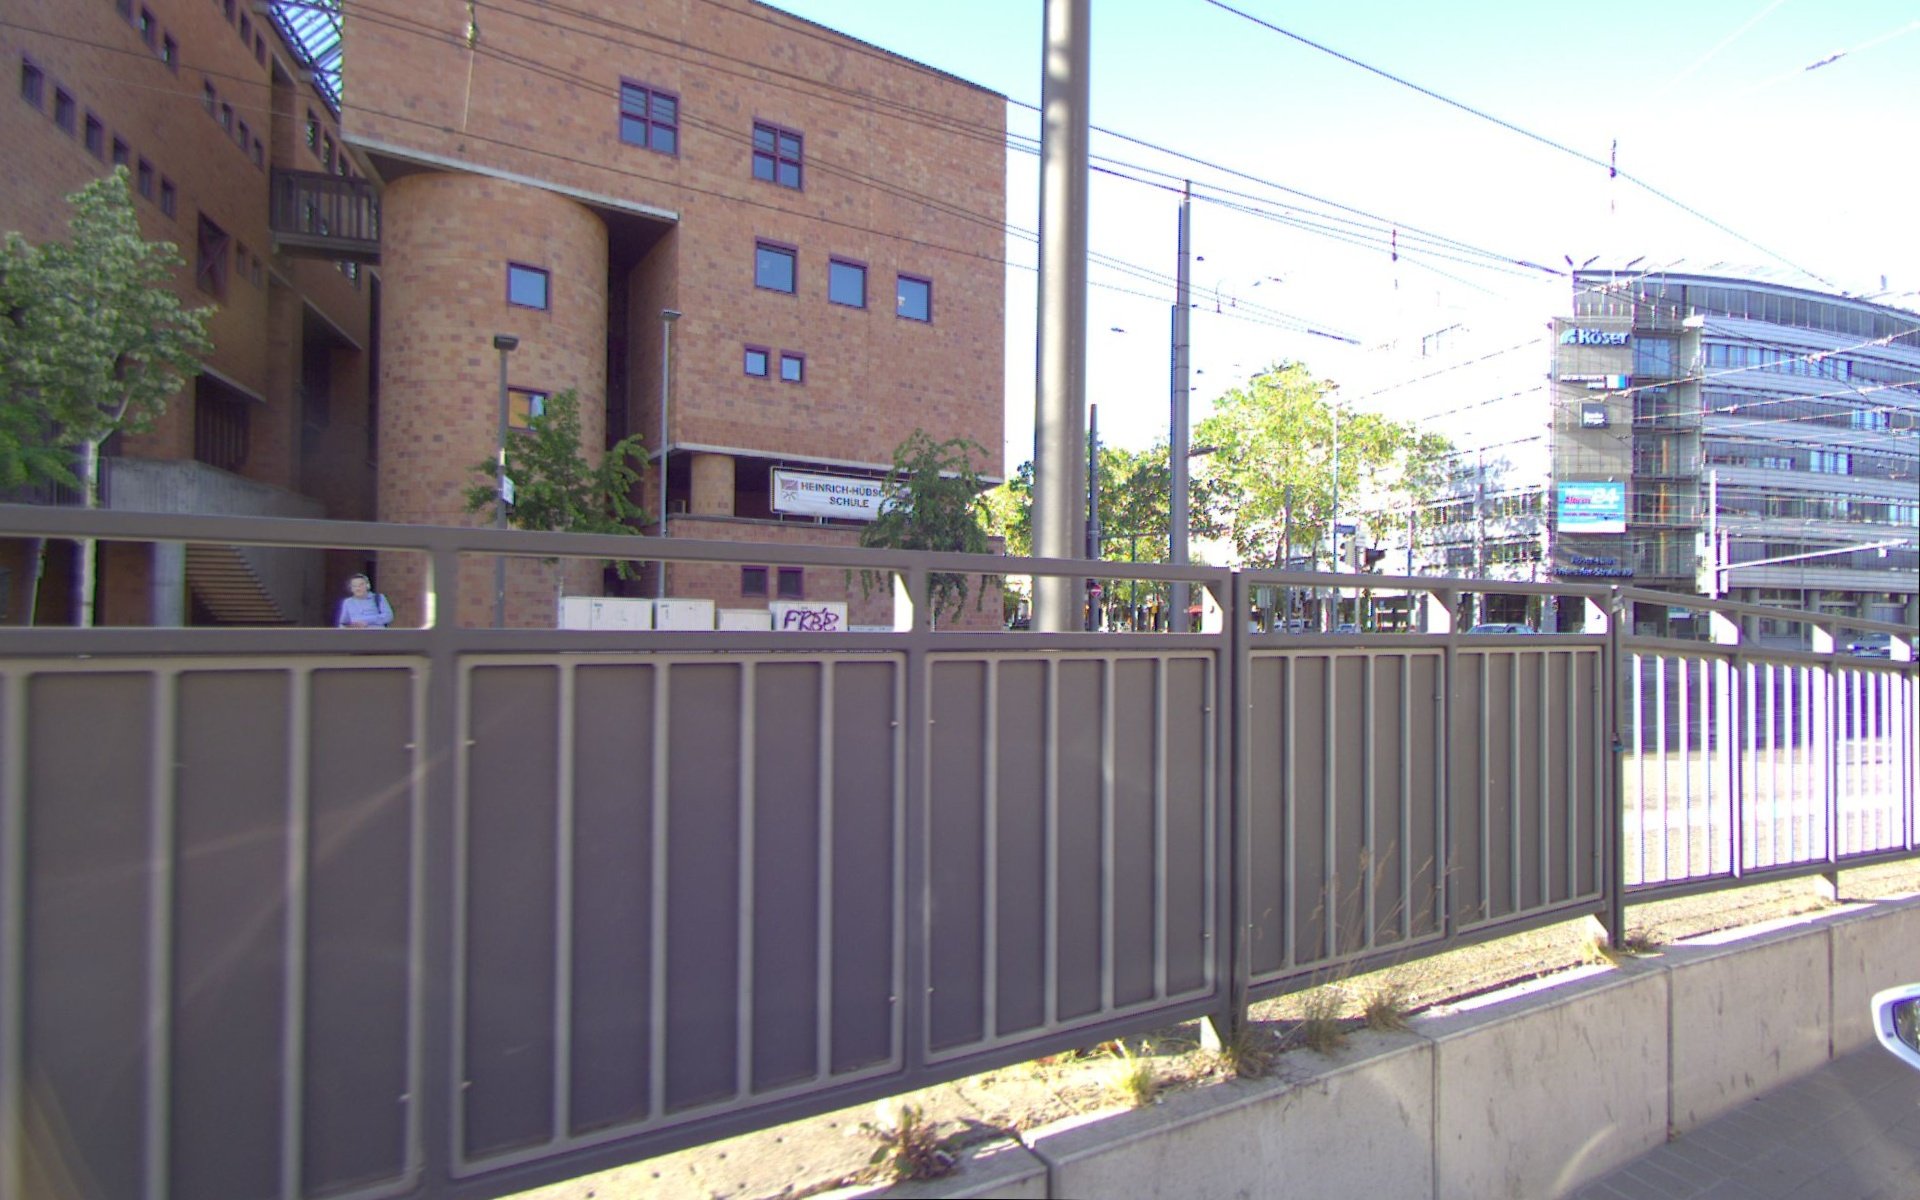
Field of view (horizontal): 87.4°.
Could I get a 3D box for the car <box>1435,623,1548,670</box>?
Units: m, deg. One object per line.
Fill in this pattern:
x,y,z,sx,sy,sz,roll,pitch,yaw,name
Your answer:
18.908,1.656,35.694,4.198,1.589,1.814,2,-2,-34,car

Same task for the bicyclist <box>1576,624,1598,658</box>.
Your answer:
29.205,1.900,46.798,0.642,1.554,0.584,2,0,-30,bicyclist

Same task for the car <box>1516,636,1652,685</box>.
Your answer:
16.136,1.524,26.041,2.841,1.077,1.237,1,0,40,car

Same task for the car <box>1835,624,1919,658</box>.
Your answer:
44.980,1.996,48.734,4.623,1.589,1.823,1,-2,-20,car

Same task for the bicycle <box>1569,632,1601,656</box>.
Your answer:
29.110,2.056,46.769,1.793,1.104,0.458,2,-3,-30,bicycle

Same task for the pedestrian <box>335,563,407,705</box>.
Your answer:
-7.125,0.402,12.146,0.679,1.656,0.662,2,0,-34,pedestrian

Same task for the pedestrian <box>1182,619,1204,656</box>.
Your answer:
11.060,1.764,47.656,0.785,1.714,0.587,2,0,-29,pedestrian

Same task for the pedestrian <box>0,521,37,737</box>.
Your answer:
-8.535,0.237,8.674,0.661,1.831,0.680,2,0,-31,pedestrian
